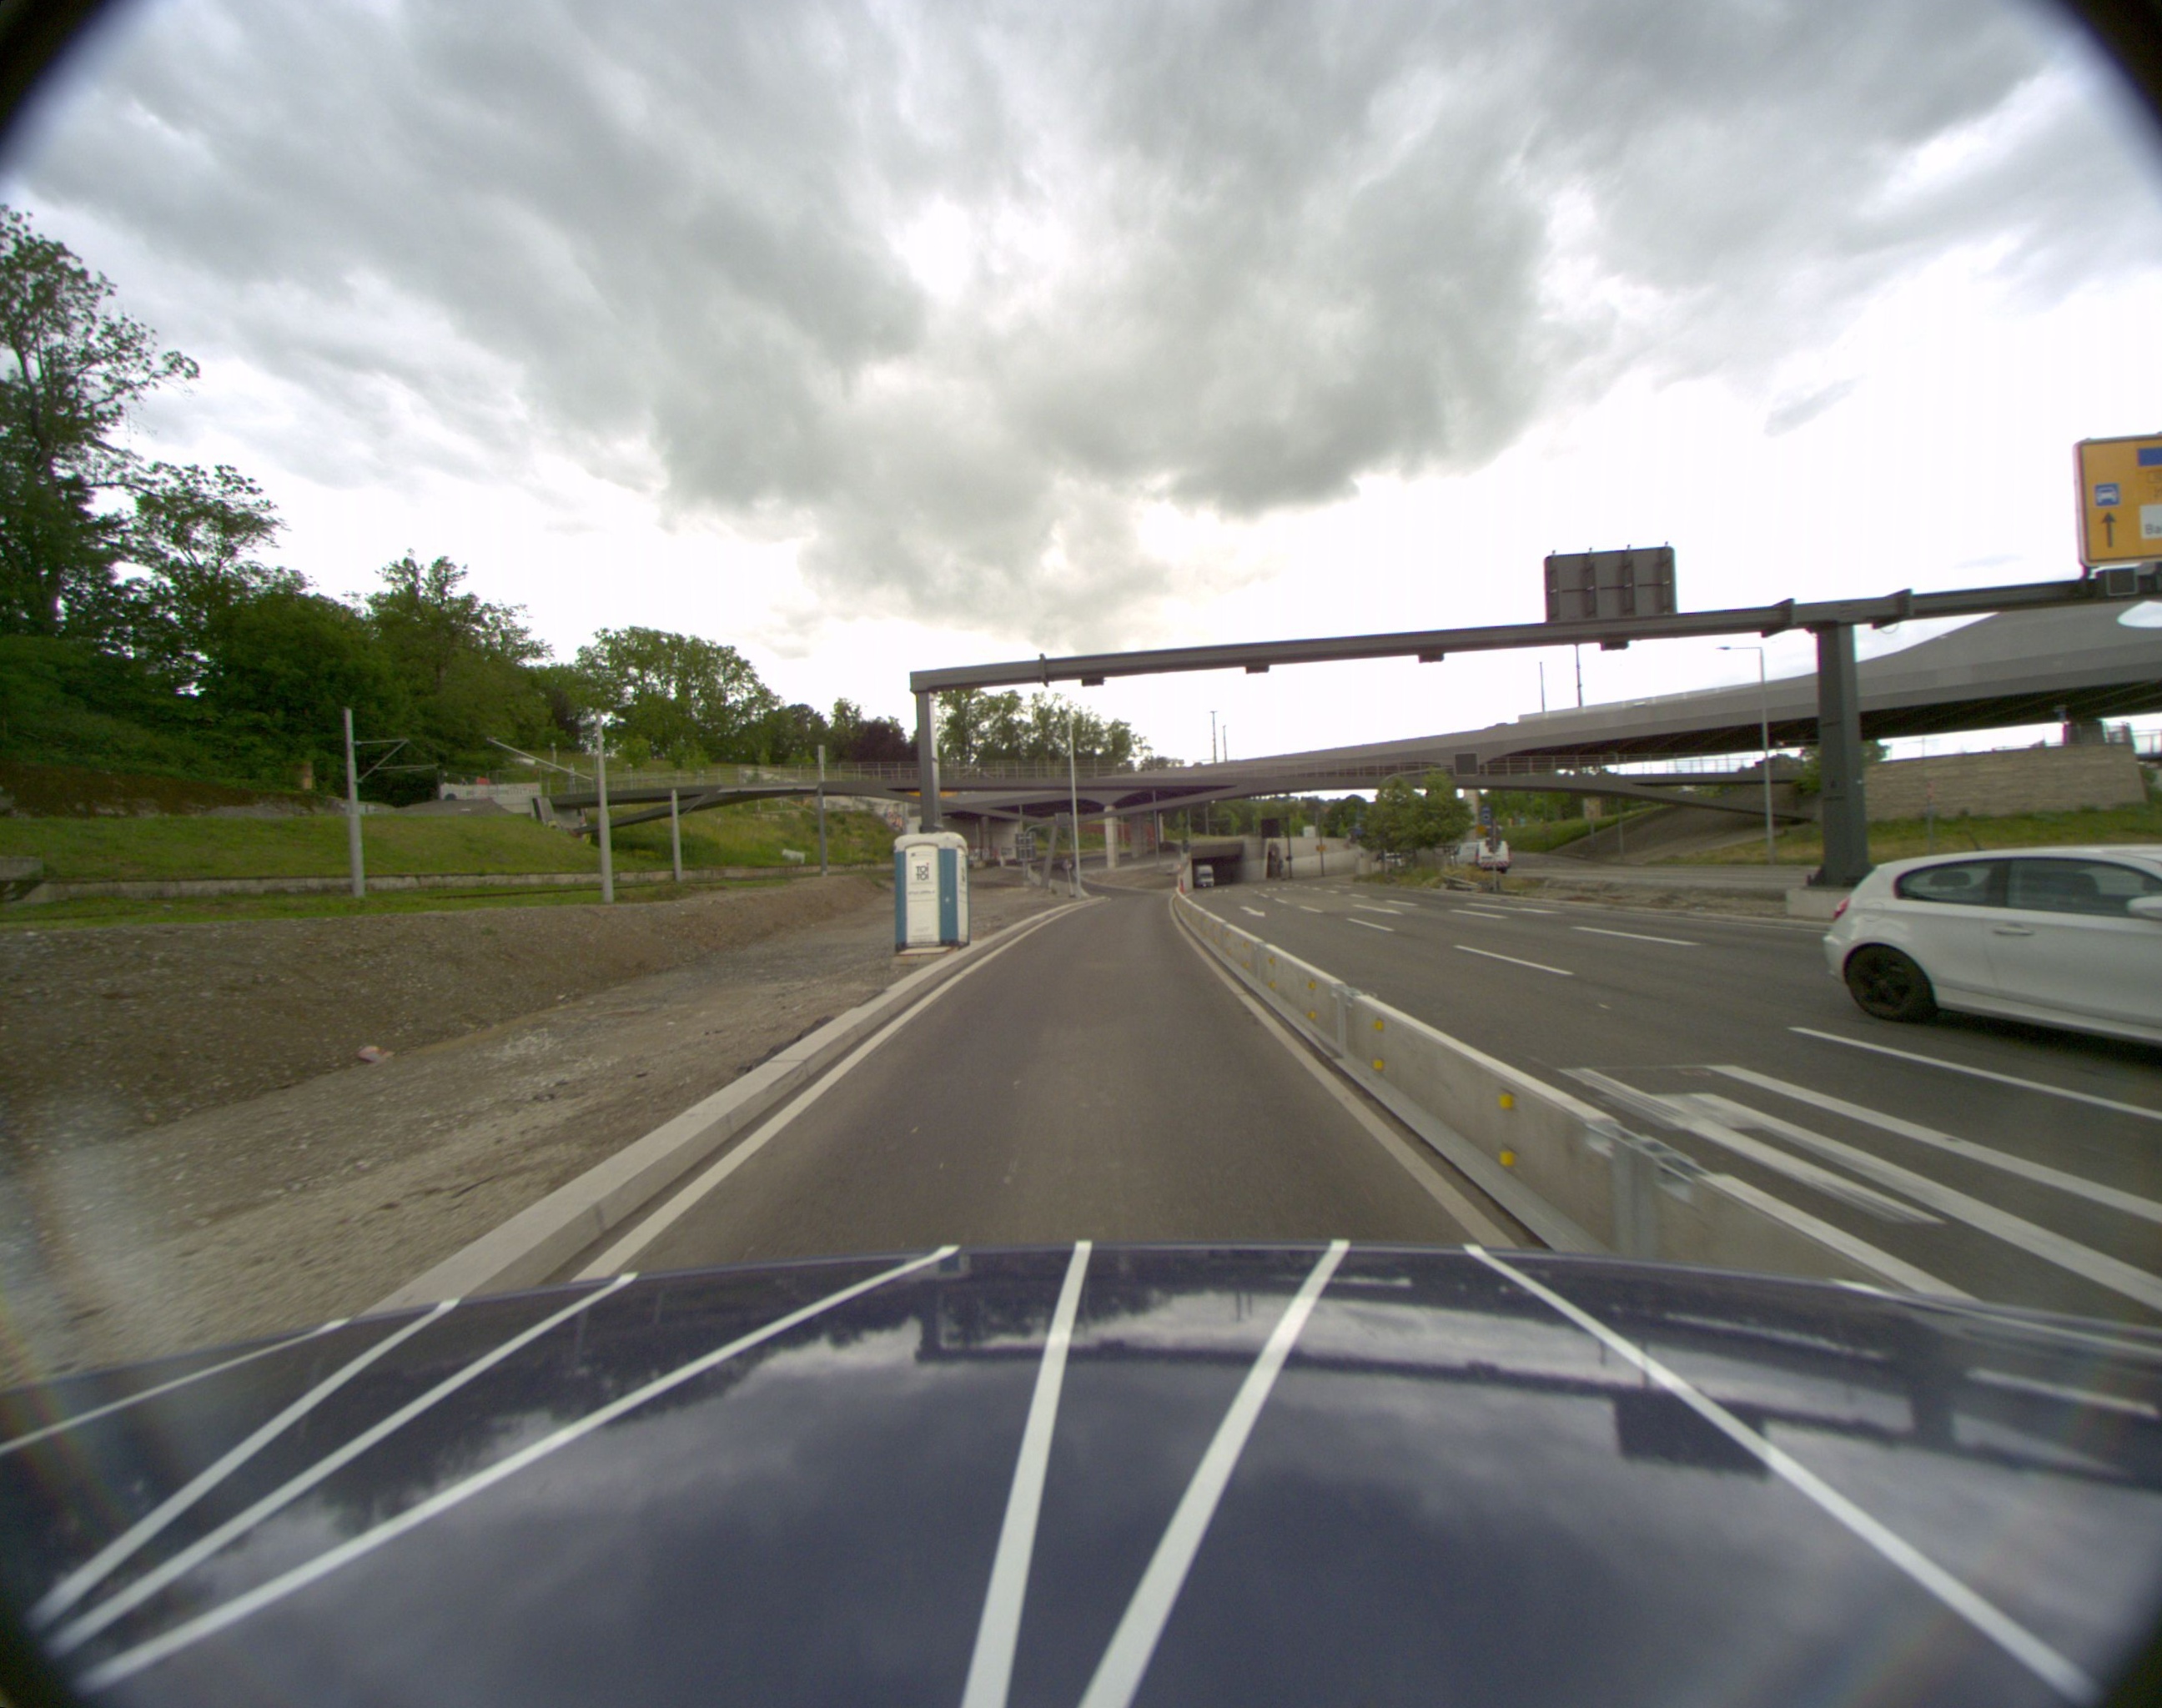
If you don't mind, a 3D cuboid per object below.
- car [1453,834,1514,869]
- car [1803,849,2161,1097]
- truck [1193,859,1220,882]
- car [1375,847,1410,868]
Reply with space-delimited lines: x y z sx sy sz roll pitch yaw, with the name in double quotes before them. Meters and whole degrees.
"car" 22.890 -0.111 43.325 1.829 1.796 3.804 -2 -1 8
"car" 7.287 0.711 4.832 1.642 1.424 3.982 -3 0 2
"truck" 18.557 2.449 113.174 2.748 3.108 8.121 -5 0 2
"car" 26.678 0.339 65.224 1.803 1.652 4.292 -3 -1 10
